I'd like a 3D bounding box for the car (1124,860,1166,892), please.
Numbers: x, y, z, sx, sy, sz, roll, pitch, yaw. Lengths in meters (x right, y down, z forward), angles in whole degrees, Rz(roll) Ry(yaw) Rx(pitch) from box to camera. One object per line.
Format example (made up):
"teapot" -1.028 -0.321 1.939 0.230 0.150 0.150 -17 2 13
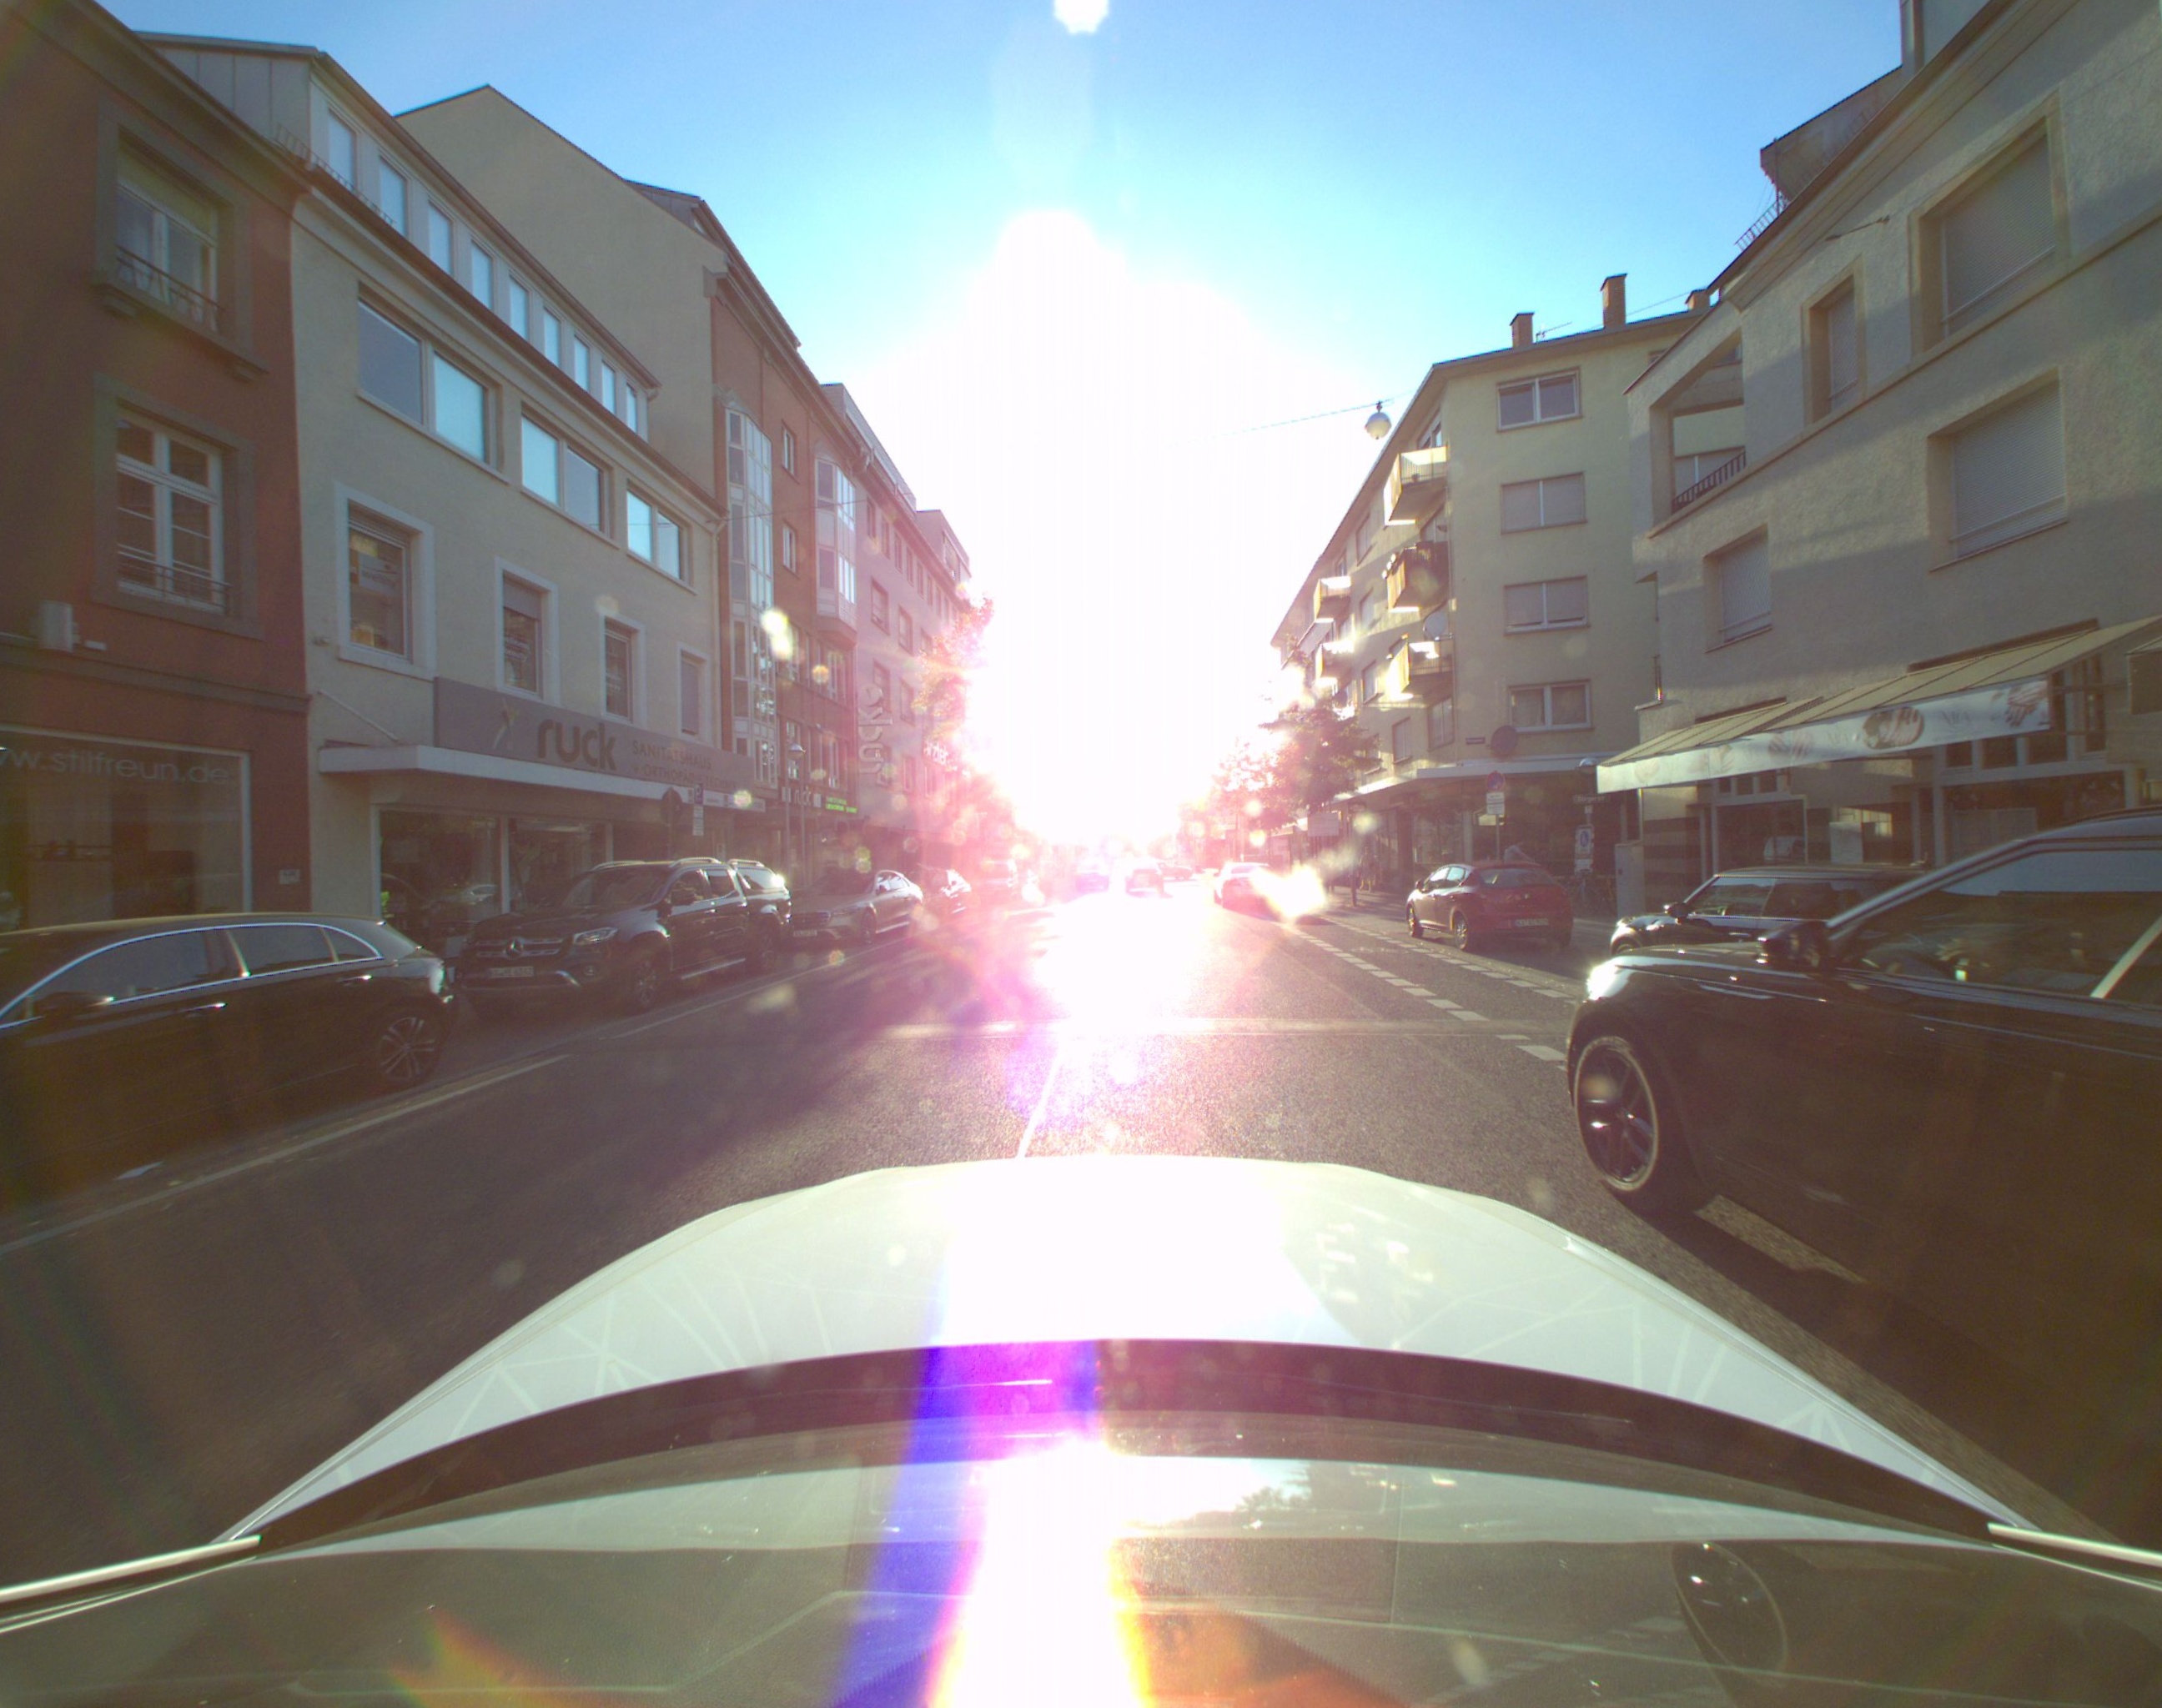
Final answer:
"car" 3.095 1.011 39.160 1.874 1.415 4.331 -1 0 5

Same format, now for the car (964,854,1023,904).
"car" -3.506 0.982 33.287 1.826 1.854 4.125 -1 -1 1

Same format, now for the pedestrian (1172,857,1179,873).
"pedestrian" 9.589 1.140 82.640 0.575 1.644 0.525 -2 0 -17

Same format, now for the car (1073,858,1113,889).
"car" 0.723 1.069 46.436 1.913 1.602 4.331 -1 0 5

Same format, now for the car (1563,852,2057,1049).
"car" 6.559 0.740 7.986 1.626 1.424 3.762 -2 0 4

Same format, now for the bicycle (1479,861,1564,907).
"bicycle" 11.592 0.797 21.488 1.908 1.155 0.656 -2 -1 26

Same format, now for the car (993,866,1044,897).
"car" -2.954 1.280 39.261 1.825 1.328 4.128 -2 0 4

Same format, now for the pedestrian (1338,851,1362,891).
"pedestrian" 10.554 0.666 31.993 0.684 1.559 0.864 -2 -1 5

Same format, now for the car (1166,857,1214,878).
"car" 8.476 1.033 63.439 3.352 1.427 1.561 -2 1 -17

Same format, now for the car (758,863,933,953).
"car" -4.907 1.049 17.886 1.818 1.556 5.144 -4 0 6

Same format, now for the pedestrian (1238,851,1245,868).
"pedestrian" 16.010 0.520 81.048 0.496 1.715 0.460 -2 0 -15

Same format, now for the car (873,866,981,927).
"car" -4.331 1.147 23.675 1.818 1.439 4.559 -4 -1 5

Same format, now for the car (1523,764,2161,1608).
"car" 3.154 0.656 1.976 1.985 1.655 4.680 0 0 5

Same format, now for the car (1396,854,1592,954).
"car" 7.043 0.776 14.376 1.695 1.436 3.937 -3 -1 5

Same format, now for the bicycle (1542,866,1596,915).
"bicycle" 11.015 0.802 18.431 0.286 1.039 1.719 -1 0 4

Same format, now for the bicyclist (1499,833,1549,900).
"bicyclist" 11.659 0.328 21.448 1.081 1.702 0.656 -2 -1 26

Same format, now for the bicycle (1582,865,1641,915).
"bicycle" 11.789 0.780 18.140 0.286 1.039 1.719 -1 0 4

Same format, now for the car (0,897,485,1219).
"car" -6.159 1.133 4.865 1.705 1.440 4.315 -3 0 5

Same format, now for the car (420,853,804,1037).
"car" -5.770 0.949 11.091 1.819 1.810 5.353 -3 0 3

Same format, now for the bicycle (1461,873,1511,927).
"bicycle" 8.486 0.939 17.112 0.291 1.039 1.719 -1 0 4

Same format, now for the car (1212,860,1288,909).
"car" 5.393 0.913 26.472 1.913 1.415 4.554 1 0 5

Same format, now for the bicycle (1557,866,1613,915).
"bicycle" 11.294 0.795 18.297 0.286 1.039 1.719 -1 0 4

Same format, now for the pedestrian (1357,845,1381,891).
"pedestrian" 11.246 0.544 31.795 0.683 1.721 0.719 -3 -1 10
